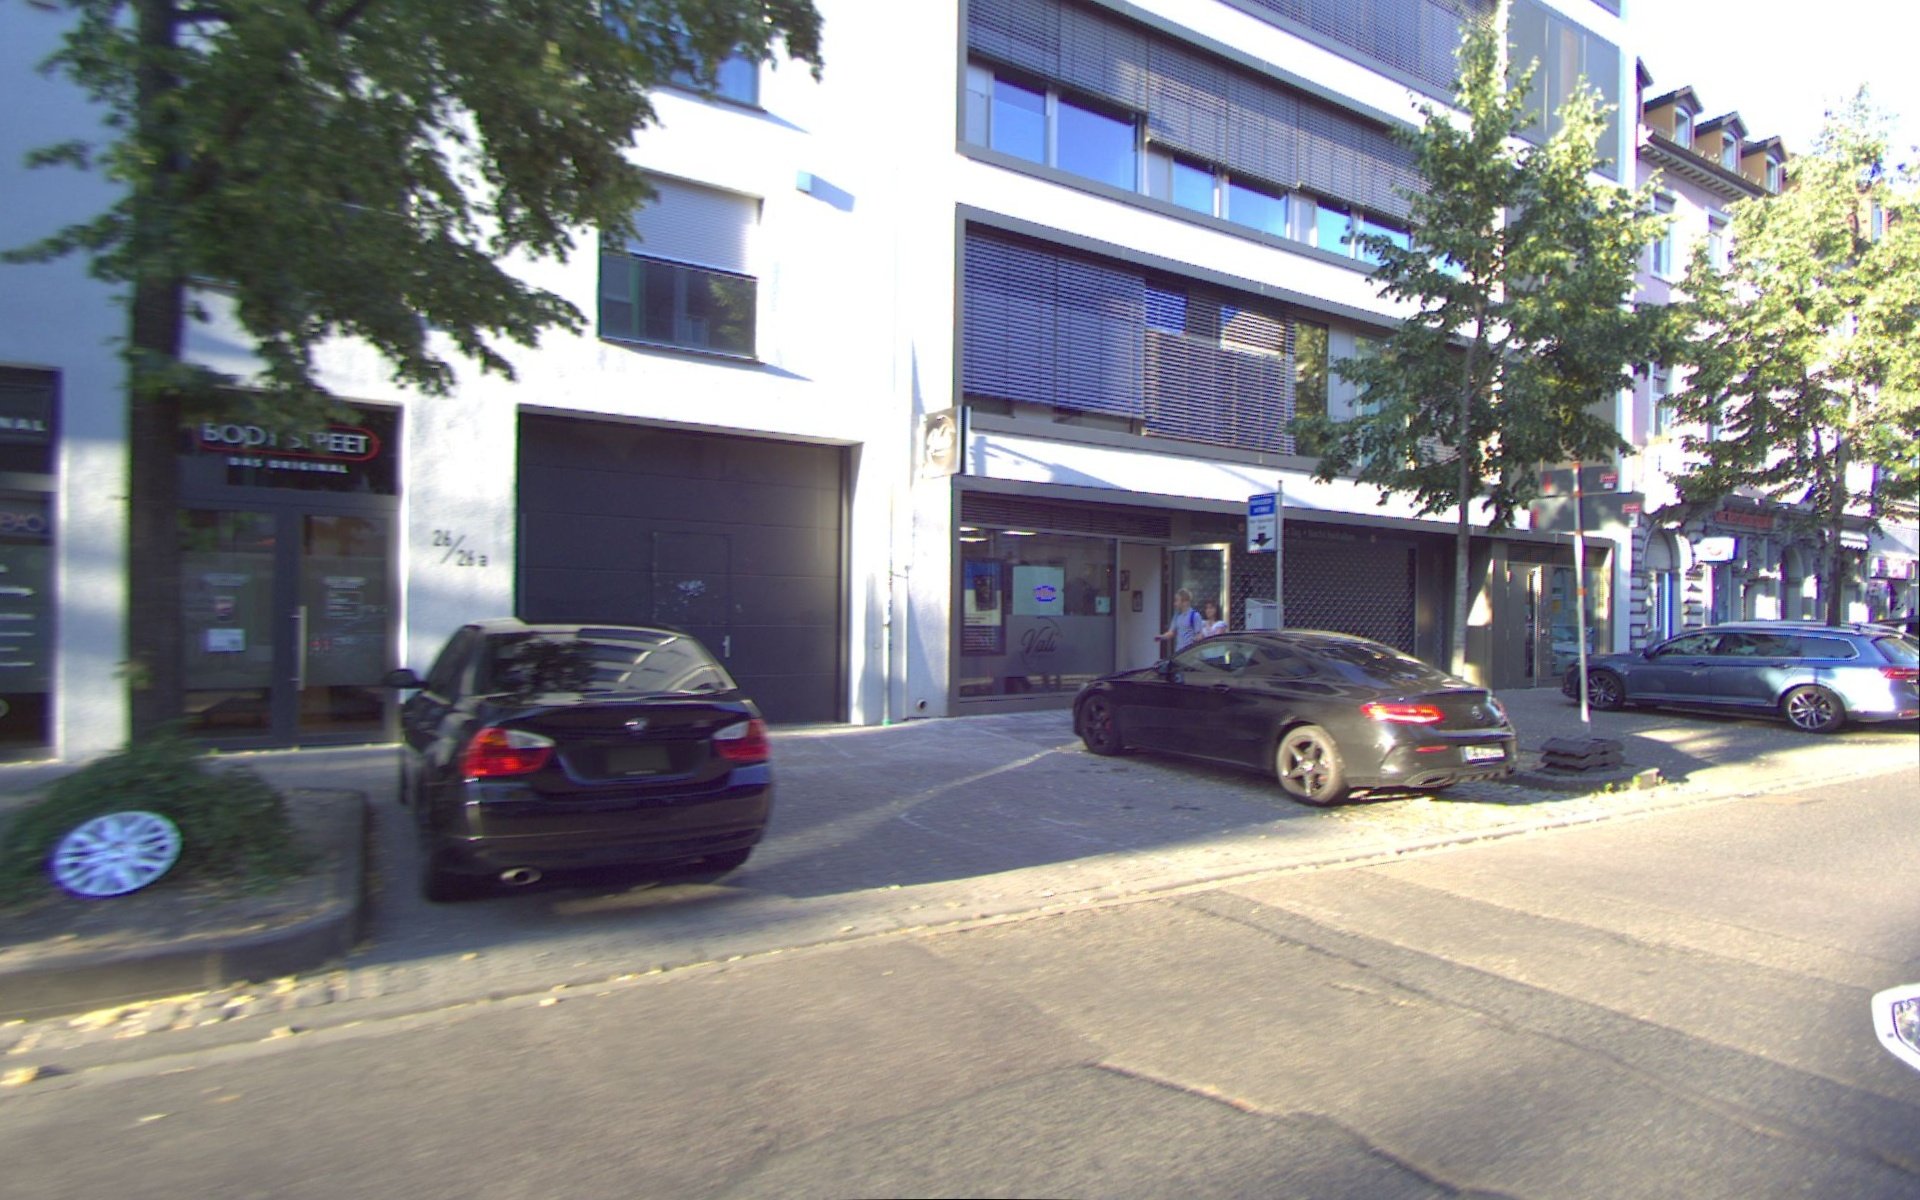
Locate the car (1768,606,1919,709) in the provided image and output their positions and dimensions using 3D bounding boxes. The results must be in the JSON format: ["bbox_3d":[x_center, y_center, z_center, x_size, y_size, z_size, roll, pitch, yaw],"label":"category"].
[{"bbox_3d":[17.831,1.063,18.574,1.869,1.796,4.126,1,0,-32],"label":"car"}]

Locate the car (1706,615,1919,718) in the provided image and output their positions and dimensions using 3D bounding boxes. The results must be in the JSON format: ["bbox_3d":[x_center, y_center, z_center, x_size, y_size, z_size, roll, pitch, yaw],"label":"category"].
[{"bbox_3d":[15.937,1.114,17.461,1.868,1.617,4.383,1,0,-31],"label":"car"}]

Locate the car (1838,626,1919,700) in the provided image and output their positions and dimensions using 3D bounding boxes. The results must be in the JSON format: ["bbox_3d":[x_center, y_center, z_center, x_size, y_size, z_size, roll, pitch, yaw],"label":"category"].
[{"bbox_3d":[20.405,1.310,19.956,1.747,1.440,4.126,1,0,-32],"label":"car"}]

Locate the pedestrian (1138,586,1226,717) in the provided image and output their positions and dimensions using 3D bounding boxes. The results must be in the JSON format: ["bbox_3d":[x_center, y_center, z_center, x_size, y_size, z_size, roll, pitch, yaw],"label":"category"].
[{"bbox_3d":[3.137,0.710,14.230,0.923,1.773,0.715,1,2,-30],"label":"pedestrian"}]

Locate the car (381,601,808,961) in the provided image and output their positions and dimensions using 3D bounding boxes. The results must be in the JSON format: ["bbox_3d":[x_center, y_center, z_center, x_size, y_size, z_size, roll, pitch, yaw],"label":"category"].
[{"bbox_3d":[-2.638,0.776,6.474,1.725,1.504,4.251,1,-1,-32],"label":"car"}]

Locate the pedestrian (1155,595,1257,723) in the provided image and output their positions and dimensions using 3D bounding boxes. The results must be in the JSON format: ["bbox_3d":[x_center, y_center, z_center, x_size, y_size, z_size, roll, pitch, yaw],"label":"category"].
[{"bbox_3d":[3.299,0.771,13.479,1.082,1.624,0.715,1,2,-30],"label":"pedestrian"}]

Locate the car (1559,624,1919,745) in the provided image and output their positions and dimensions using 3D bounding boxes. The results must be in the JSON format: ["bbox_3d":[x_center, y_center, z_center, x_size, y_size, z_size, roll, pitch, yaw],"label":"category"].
[{"bbox_3d":[12.033,1.161,15.487,1.725,1.504,4.522,1,-1,-32],"label":"car"}]

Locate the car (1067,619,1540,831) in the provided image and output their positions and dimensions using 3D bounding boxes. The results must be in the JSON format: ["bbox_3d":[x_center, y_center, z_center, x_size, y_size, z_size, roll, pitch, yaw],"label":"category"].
[{"bbox_3d":[2.979,0.971,9.685,1.724,1.504,4.254,1,-1,-30],"label":"car"}]
